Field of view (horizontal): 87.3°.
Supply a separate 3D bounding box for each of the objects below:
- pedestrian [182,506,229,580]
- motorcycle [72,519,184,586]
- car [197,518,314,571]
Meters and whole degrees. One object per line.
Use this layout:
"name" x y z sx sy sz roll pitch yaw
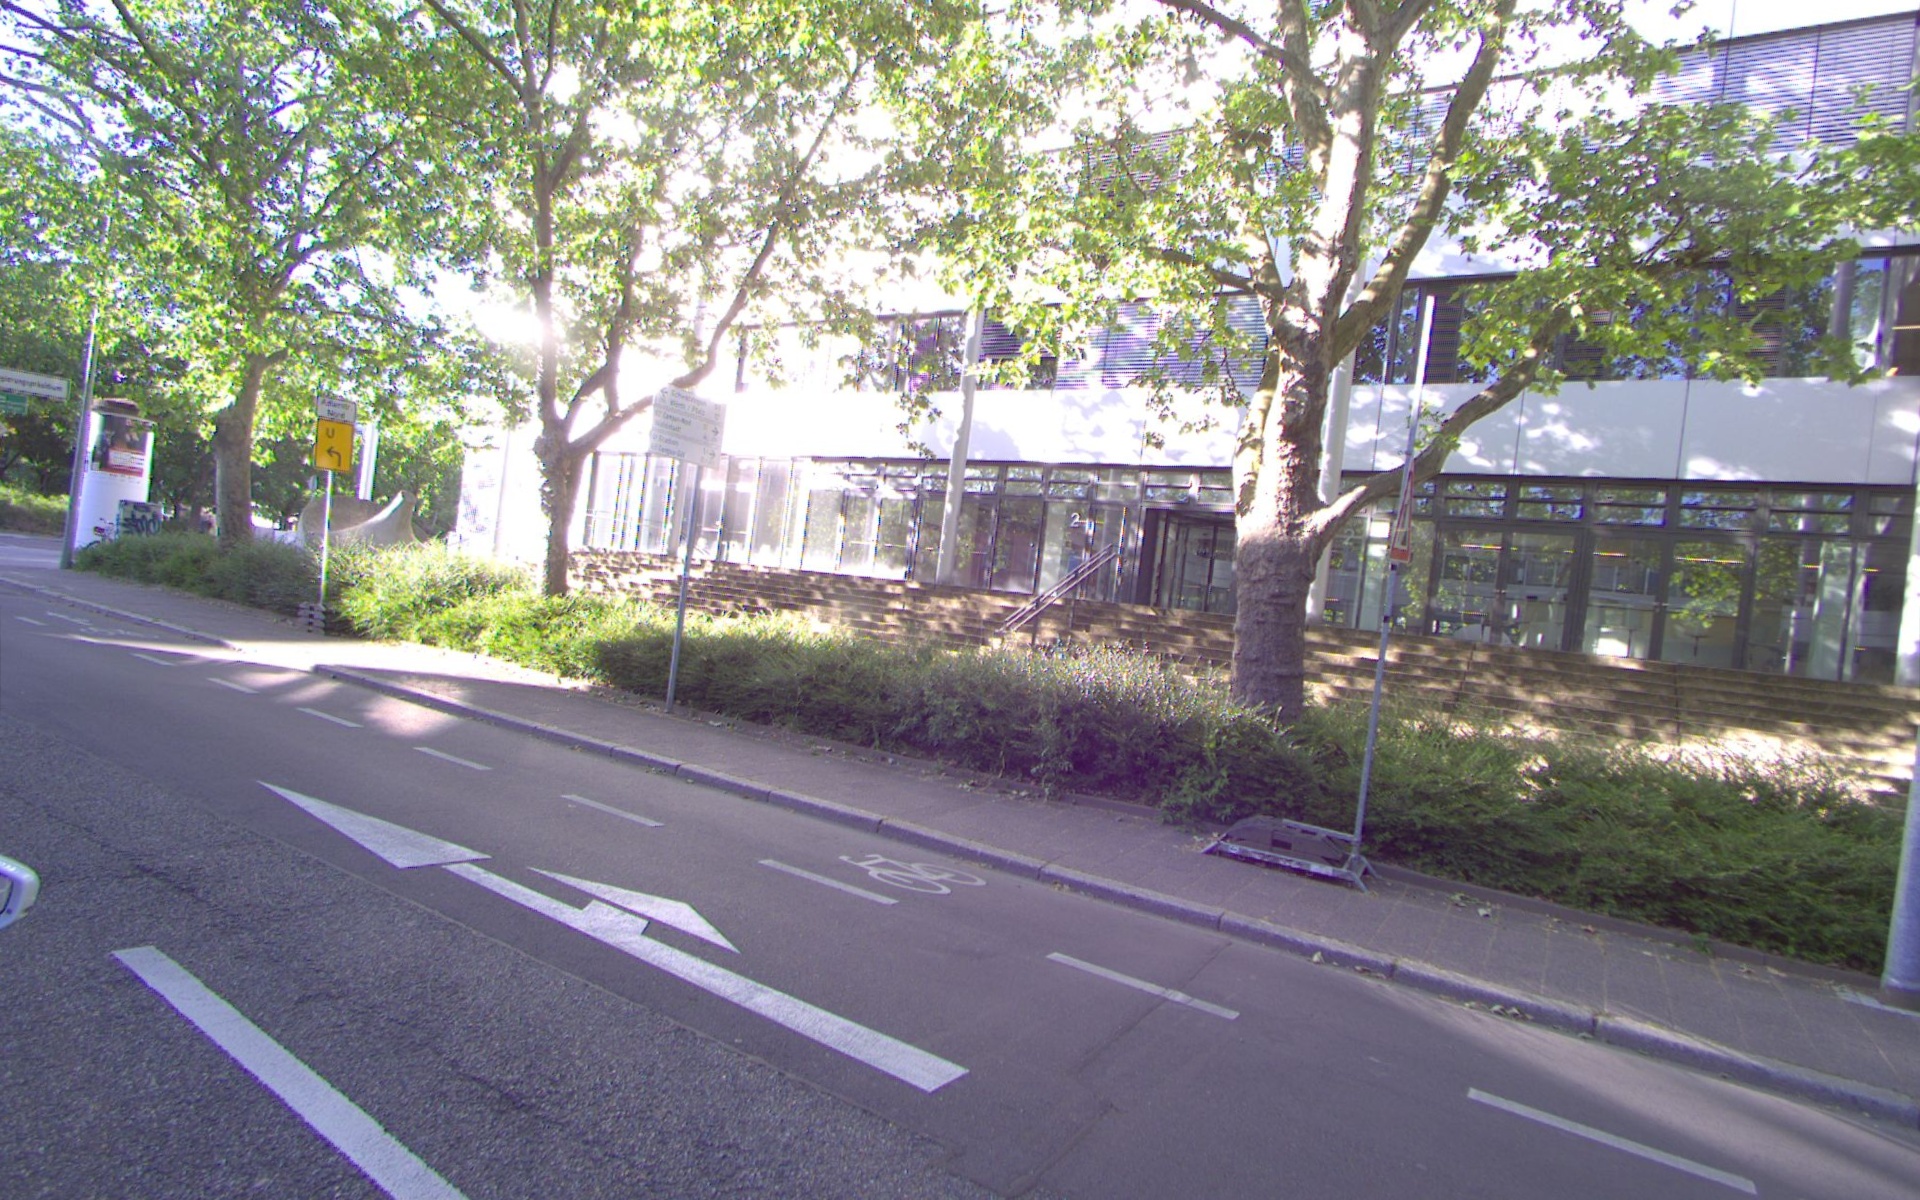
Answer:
"pedestrian" -20.257 -1.530 27.019 0.656 1.849 0.648 7 0 31
"motorcycle" -19.220 -1.092 23.276 0.712 1.257 1.782 6 -2 37
"car" -32.697 -2.559 46.816 1.708 1.792 3.996 7 -1 30
